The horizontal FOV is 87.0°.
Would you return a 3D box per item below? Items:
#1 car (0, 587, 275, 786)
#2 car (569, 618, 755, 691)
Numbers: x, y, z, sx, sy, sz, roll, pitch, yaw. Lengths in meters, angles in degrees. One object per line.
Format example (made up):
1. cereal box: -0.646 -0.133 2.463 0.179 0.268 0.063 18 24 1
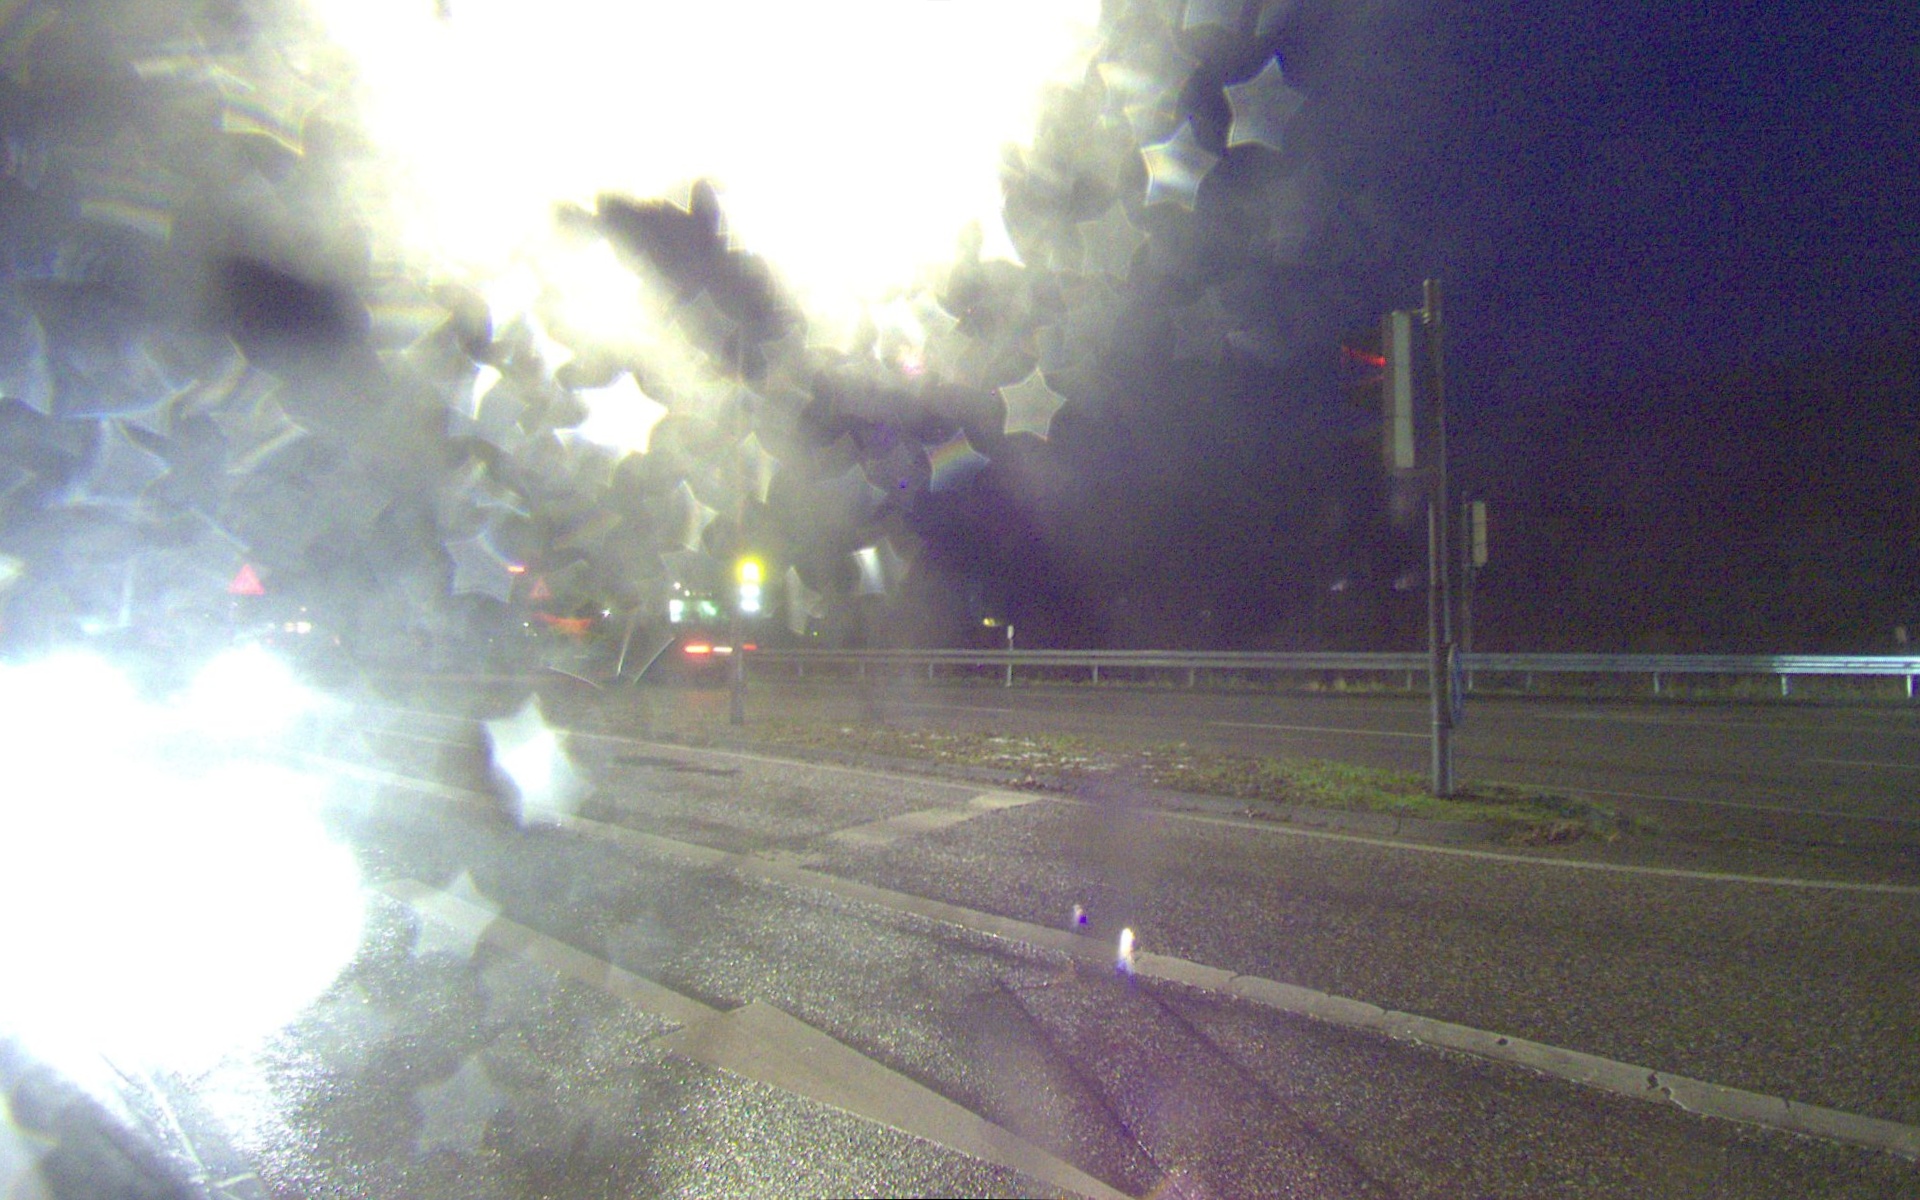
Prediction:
1. car: -9.405 0.807 11.115 4.935 1.717 1.890 -1 -2 41
2. car: -6.779 1.204 22.860 4.365 1.510 1.639 -1 -4 35
